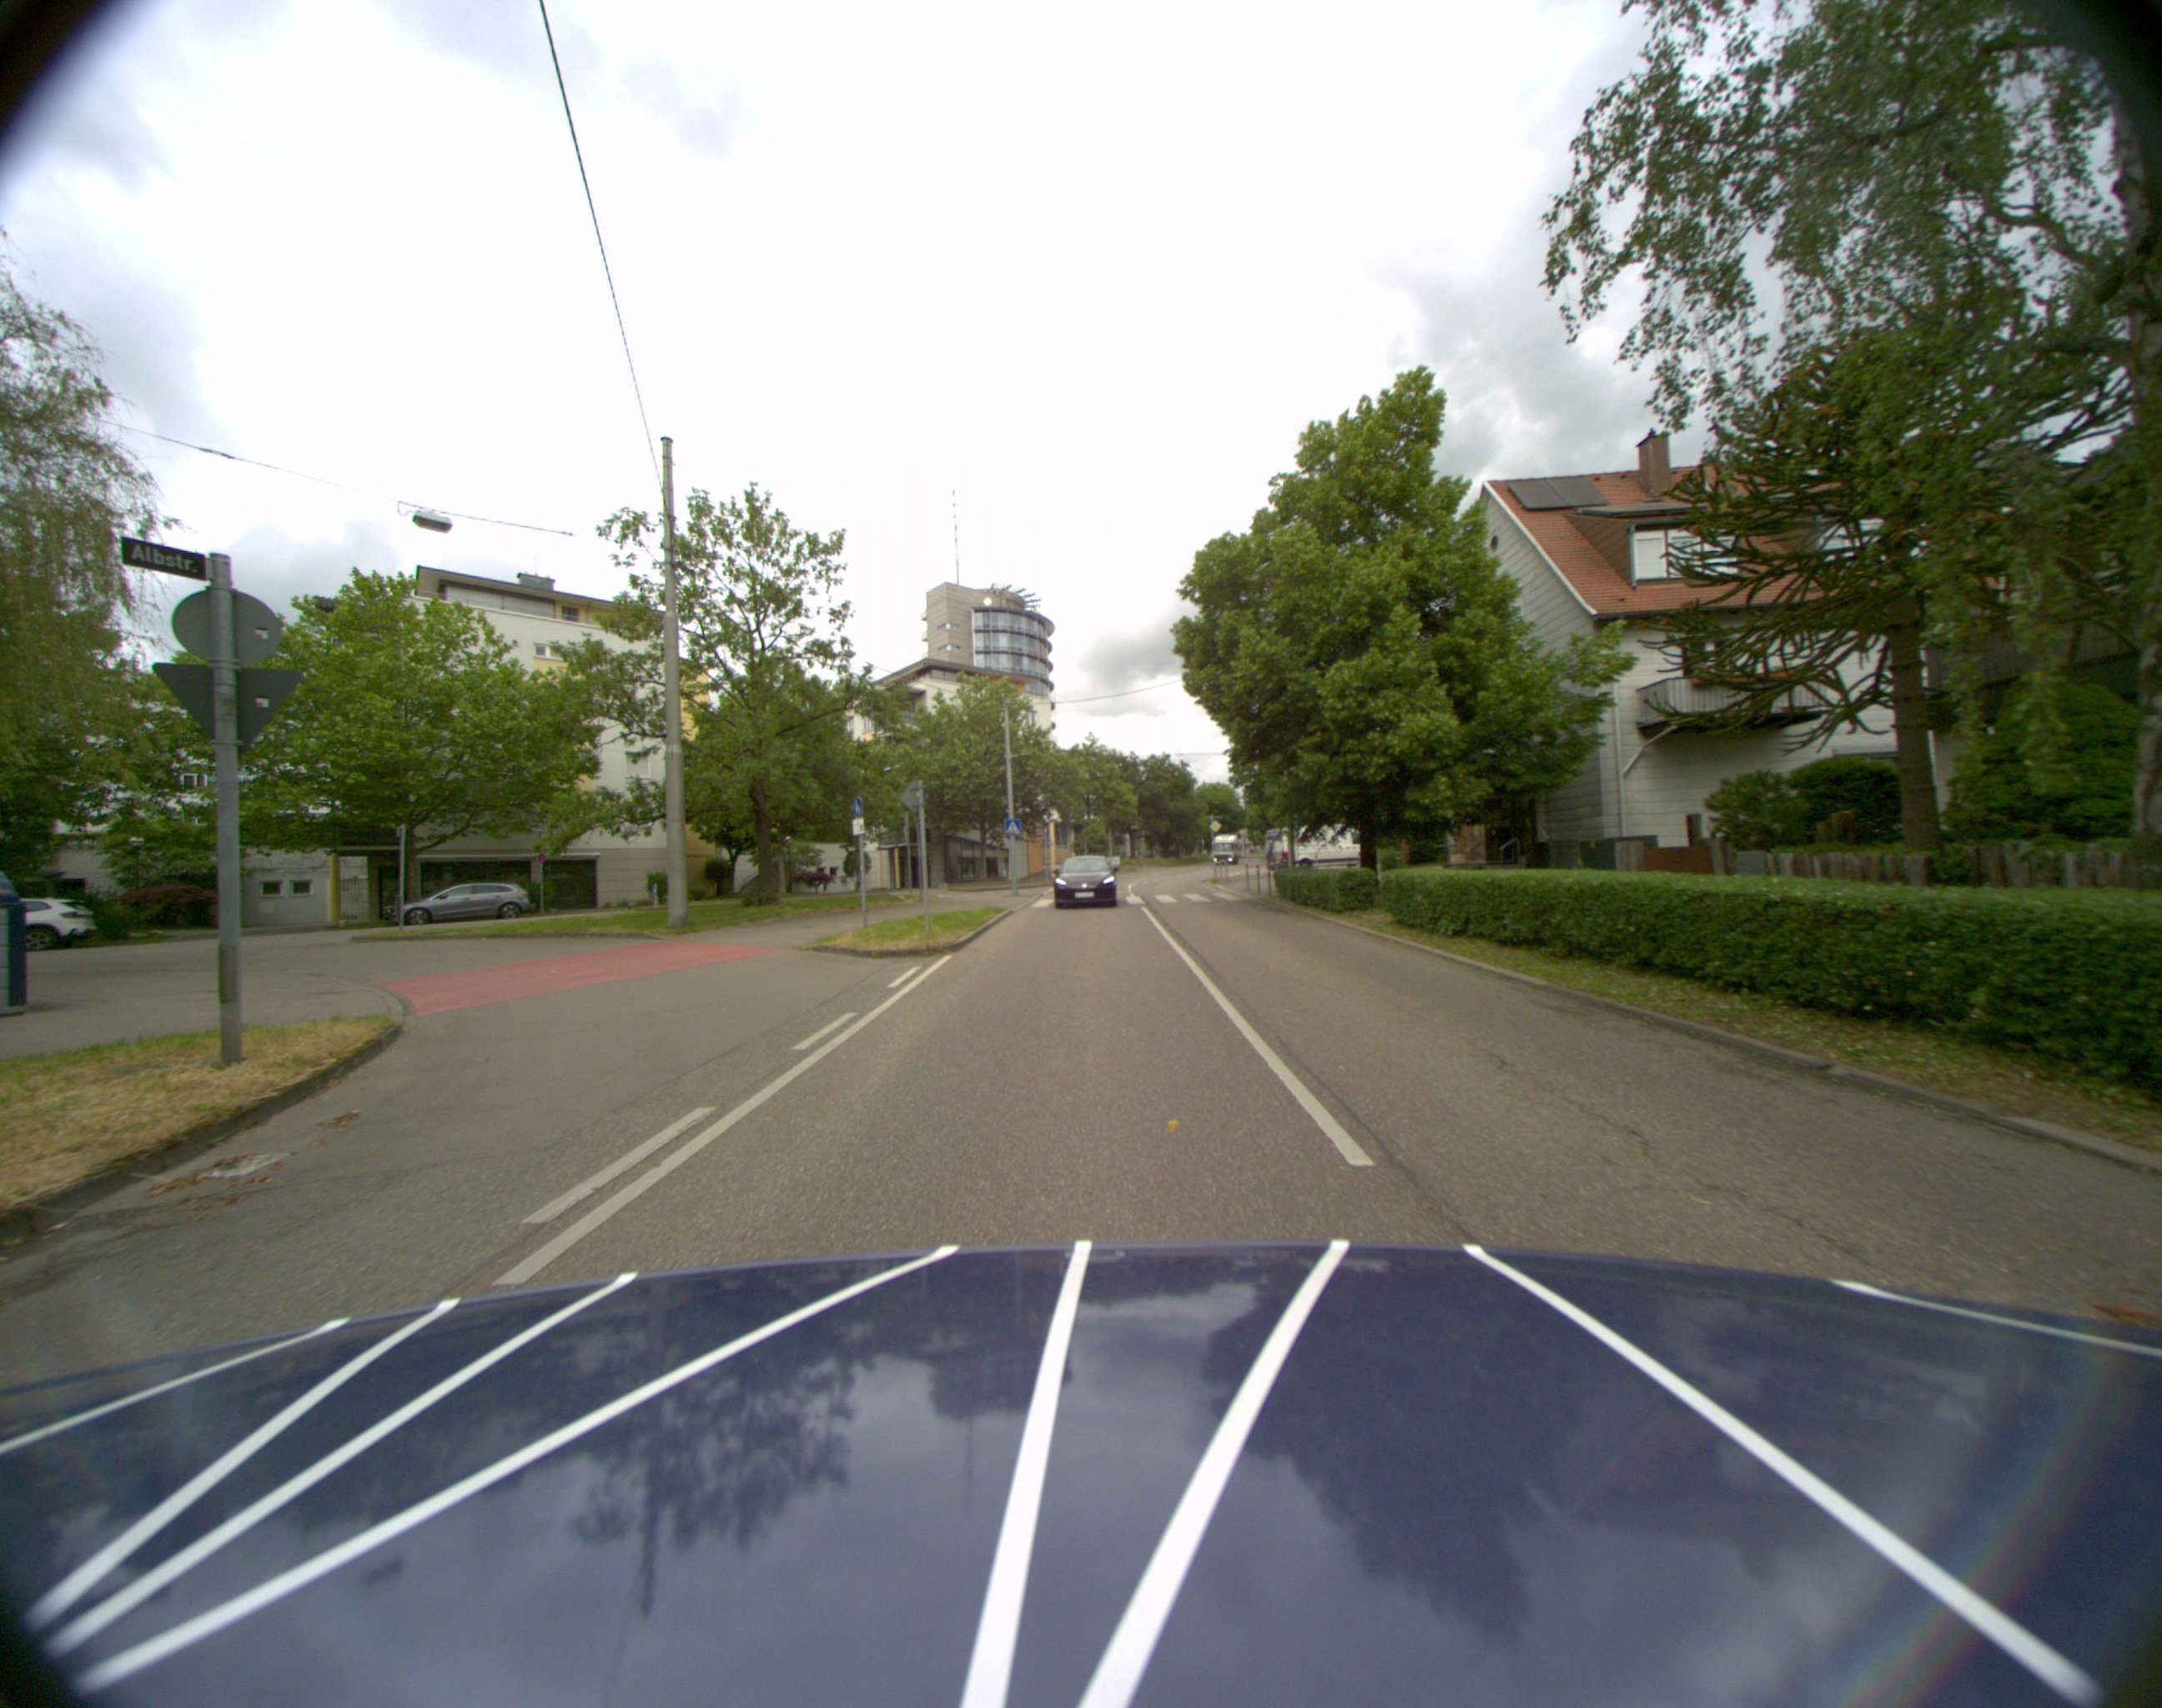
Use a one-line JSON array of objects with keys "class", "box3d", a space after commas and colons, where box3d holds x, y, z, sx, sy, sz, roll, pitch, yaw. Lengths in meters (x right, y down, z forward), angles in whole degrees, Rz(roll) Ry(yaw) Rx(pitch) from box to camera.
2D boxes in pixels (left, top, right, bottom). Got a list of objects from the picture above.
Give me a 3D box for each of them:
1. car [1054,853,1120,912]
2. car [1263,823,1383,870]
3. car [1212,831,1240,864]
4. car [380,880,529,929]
[{"class": "car", "box3d": [0.240, 0.793, 23.392, 1.798, 1.552, 4.471, -2, 0, 2]}, {"class": "car", "box3d": [13.534, -0.449, 42.466, 6.375, 2.334, 1.973, -2, 0, -19]}, {"class": "car", "box3d": [15.722, -0.764, 81.982, 2.433, 3.256, 7.798, -2, 1, 14]}, {"class": "car", "box3d": [-24.126, 1.891, 29.351, 4.251, 1.501, 1.795, -2, 0, -45]}]
